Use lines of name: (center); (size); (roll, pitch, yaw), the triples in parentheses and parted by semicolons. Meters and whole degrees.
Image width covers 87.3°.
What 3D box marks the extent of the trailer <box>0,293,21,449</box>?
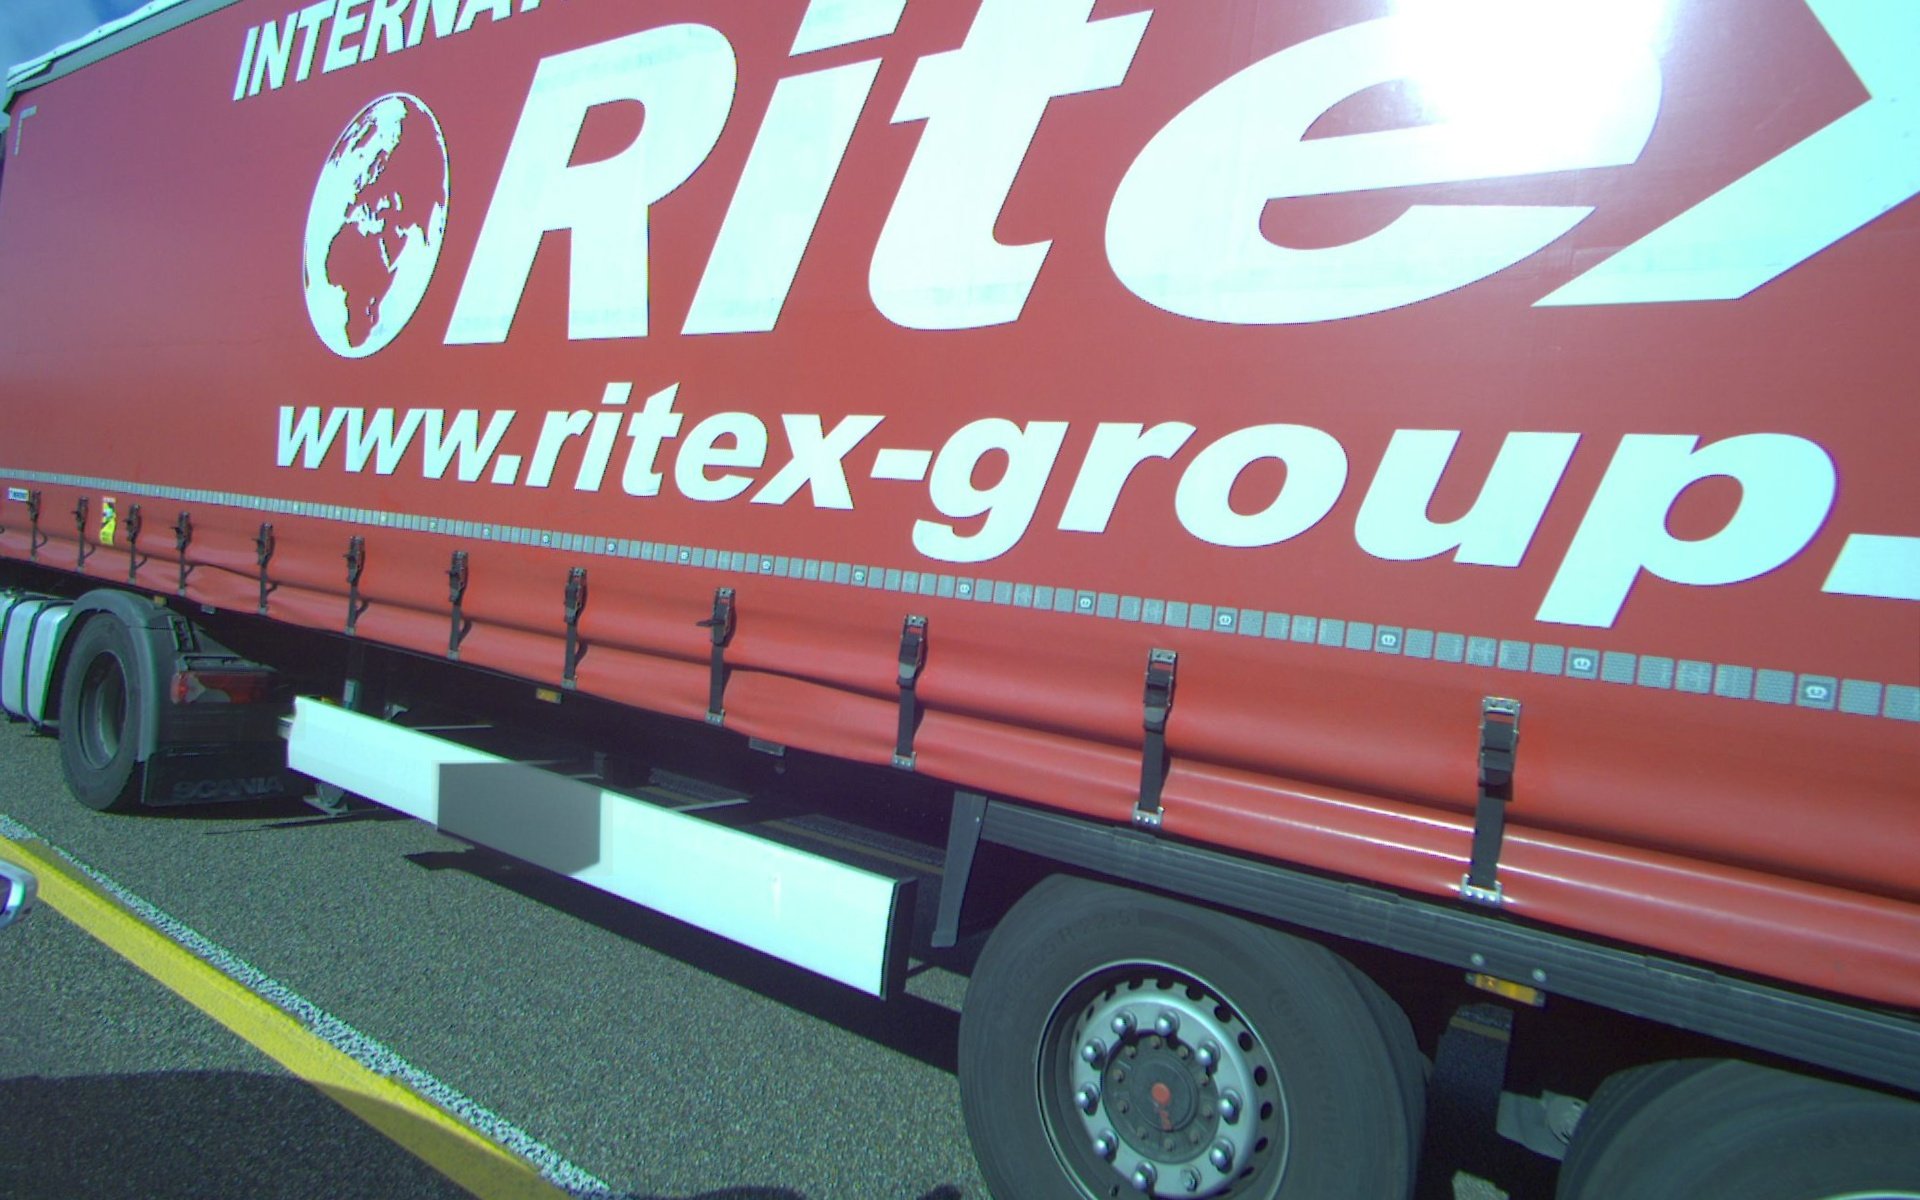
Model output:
trailer: (-18.527, -2.736, 15.349); (12.388, 3.989, 2.649); (7, -1, 32)

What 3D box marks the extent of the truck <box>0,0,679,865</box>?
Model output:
truck: (-5.208, -0.959, 7.064); (5.615, 4.005, 2.673); (7, -1, 31)

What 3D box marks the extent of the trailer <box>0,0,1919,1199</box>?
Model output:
trailer: (0.375, -0.302, 3.687); (13.193, 4.015, 2.705); (7, -1, 31)
